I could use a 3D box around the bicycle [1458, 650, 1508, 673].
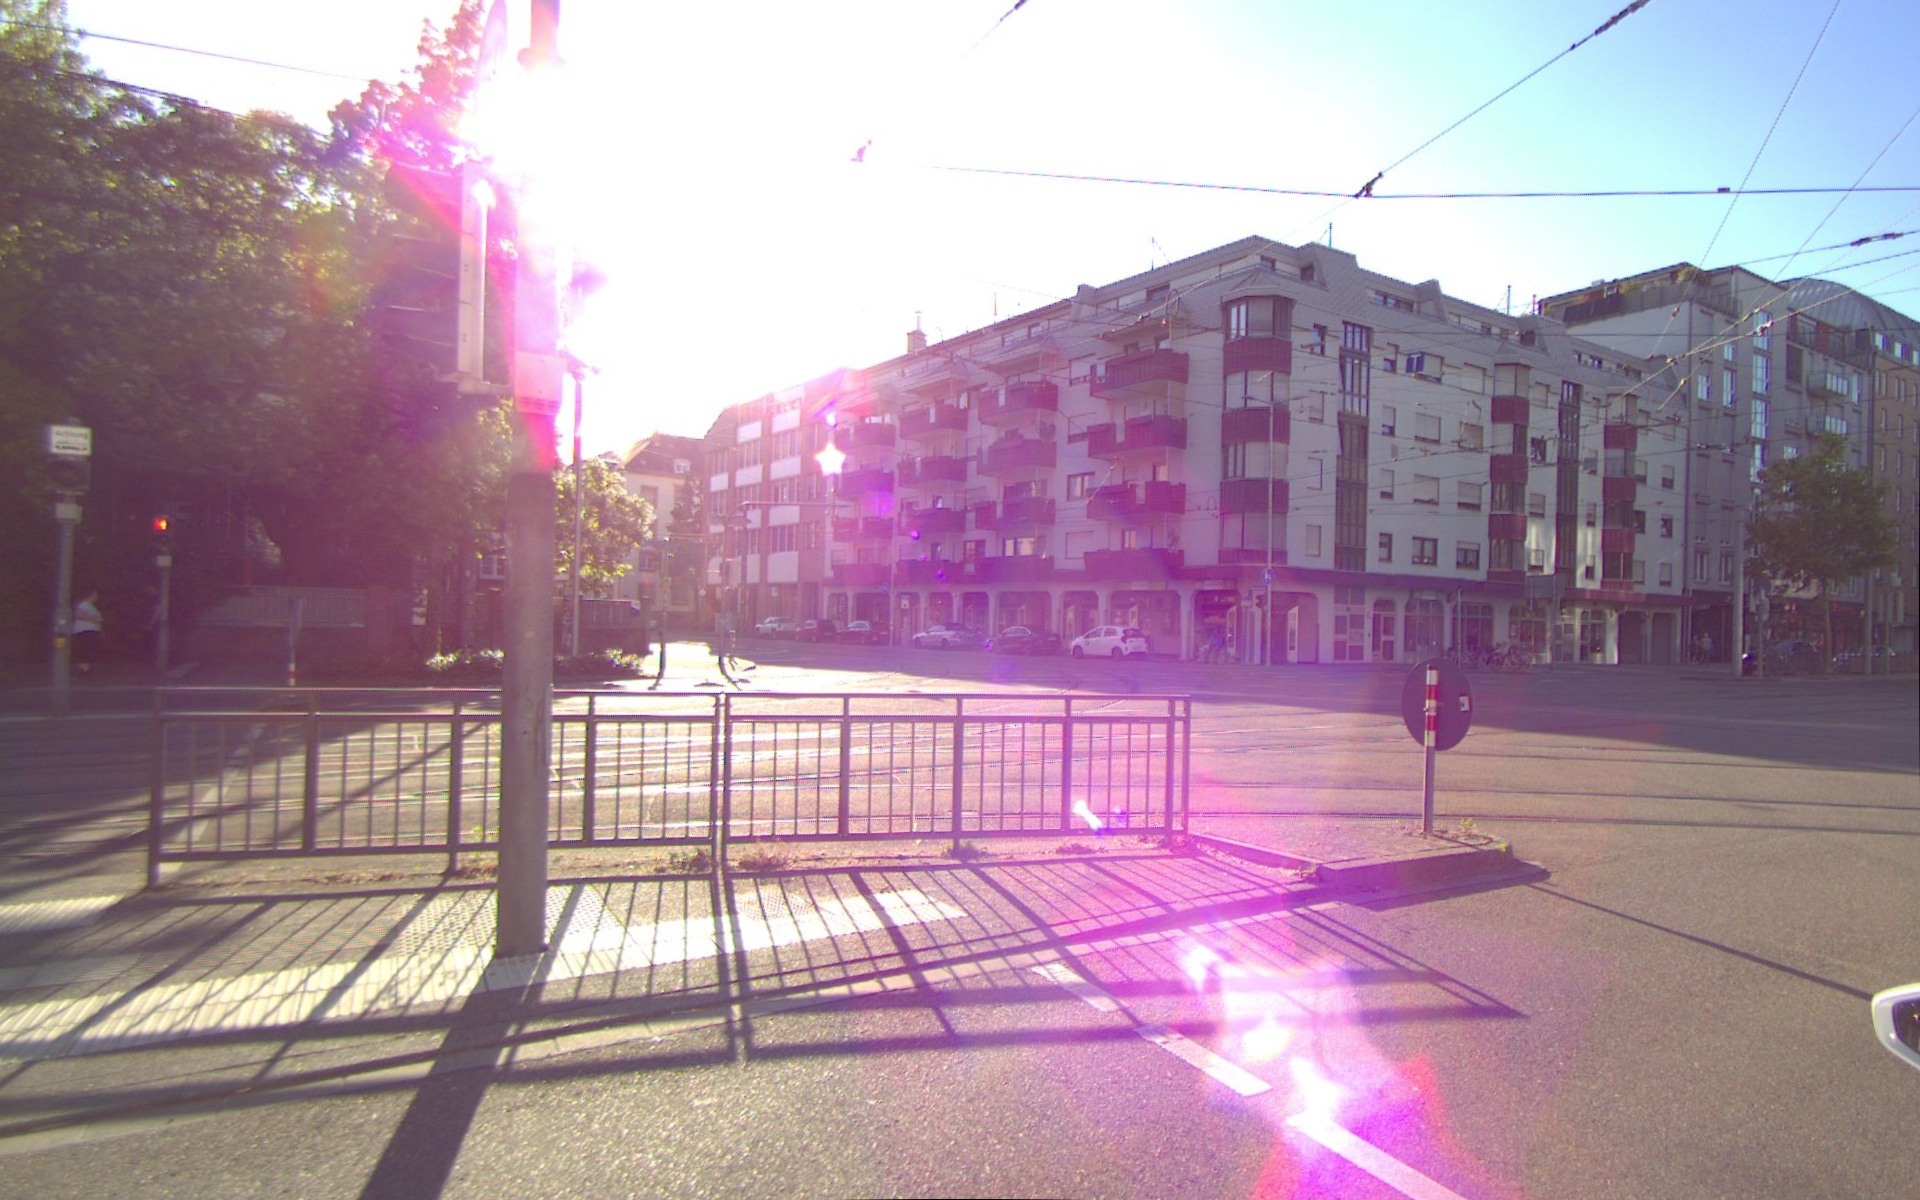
[{"bbox_3d":[21.834,2.553,41.964,0.546,0.865,1.836,2,-1,-27],"label":"bicycle"}]

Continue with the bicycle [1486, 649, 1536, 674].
[{"bbox_3d":[23.476,2.617,42.836,0.547,0.998,1.833,2,-1,-32],"label":"bicycle"}]

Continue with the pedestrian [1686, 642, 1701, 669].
[{"bbox_3d":[42.346,3.191,57.988,0.581,1.514,0.531,2,-1,-33],"label":"pedestrian"}]

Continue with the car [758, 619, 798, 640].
[{"bbox_3d":[-12.583,2.053,69.206,1.447,1.351,3.149,2,-1,-37],"label":"car"}]

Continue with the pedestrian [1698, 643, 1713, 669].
[{"bbox_3d":[42.719,3.207,57.556,0.581,1.514,0.531,2,-1,-33],"label":"pedestrian"}]

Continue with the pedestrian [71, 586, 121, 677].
[{"bbox_3d":[-16.616,0.602,19.333,0.625,1.687,0.564,2,2,-33],"label":"pedestrian"}]

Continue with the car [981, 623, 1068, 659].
[{"bbox_3d":[3.076,1.953,48.702,1.982,1.576,4.079,2,-1,-38],"label":"car"}]

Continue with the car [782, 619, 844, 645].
[{"bbox_3d":[-9.603,2.048,65.412,1.982,1.576,4.535,2,-1,-38],"label":"car"}]

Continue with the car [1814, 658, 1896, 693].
[{"bbox_3d":[45.664,3.819,51.232,4.212,1.616,1.945,2,-1,-31],"label":"car"}]

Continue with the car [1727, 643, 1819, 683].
[{"bbox_3d":[37.208,2.858,45.973,4.212,1.695,1.945,2,-1,-31],"label":"car"}]

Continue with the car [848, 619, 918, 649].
[{"bbox_3d":[-4.566,1.983,59.000,1.982,1.576,4.535,2,-1,-38],"label":"car"}]

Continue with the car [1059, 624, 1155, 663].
[{"bbox_3d":[6.486,1.913,44.560,1.982,1.576,3.957,2,-1,-38],"label":"car"}]

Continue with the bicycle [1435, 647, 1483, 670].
[{"bbox_3d":[20.929,2.458,42.121,0.546,0.865,1.836,2,-1,-27],"label":"bicycle"}]

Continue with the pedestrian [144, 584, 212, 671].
[{"bbox_3d":[-16.444,0.579,21.144,1.009,1.775,0.730,2,-1,-33],"label":"pedestrian"}]

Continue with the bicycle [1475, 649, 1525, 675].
[{"bbox_3d":[22.902,2.610,42.632,0.547,0.998,1.833,2,-1,-32],"label":"bicycle"}]

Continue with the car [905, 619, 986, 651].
[{"bbox_3d":[-0.814,1.867,53.632,1.982,1.576,4.535,2,-1,-38],"label":"car"}]

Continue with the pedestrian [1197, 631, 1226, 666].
[{"bbox_3d":[10.361,1.997,41.395,0.830,1.402,0.849,2,-1,-40],"label":"pedestrian"}]
